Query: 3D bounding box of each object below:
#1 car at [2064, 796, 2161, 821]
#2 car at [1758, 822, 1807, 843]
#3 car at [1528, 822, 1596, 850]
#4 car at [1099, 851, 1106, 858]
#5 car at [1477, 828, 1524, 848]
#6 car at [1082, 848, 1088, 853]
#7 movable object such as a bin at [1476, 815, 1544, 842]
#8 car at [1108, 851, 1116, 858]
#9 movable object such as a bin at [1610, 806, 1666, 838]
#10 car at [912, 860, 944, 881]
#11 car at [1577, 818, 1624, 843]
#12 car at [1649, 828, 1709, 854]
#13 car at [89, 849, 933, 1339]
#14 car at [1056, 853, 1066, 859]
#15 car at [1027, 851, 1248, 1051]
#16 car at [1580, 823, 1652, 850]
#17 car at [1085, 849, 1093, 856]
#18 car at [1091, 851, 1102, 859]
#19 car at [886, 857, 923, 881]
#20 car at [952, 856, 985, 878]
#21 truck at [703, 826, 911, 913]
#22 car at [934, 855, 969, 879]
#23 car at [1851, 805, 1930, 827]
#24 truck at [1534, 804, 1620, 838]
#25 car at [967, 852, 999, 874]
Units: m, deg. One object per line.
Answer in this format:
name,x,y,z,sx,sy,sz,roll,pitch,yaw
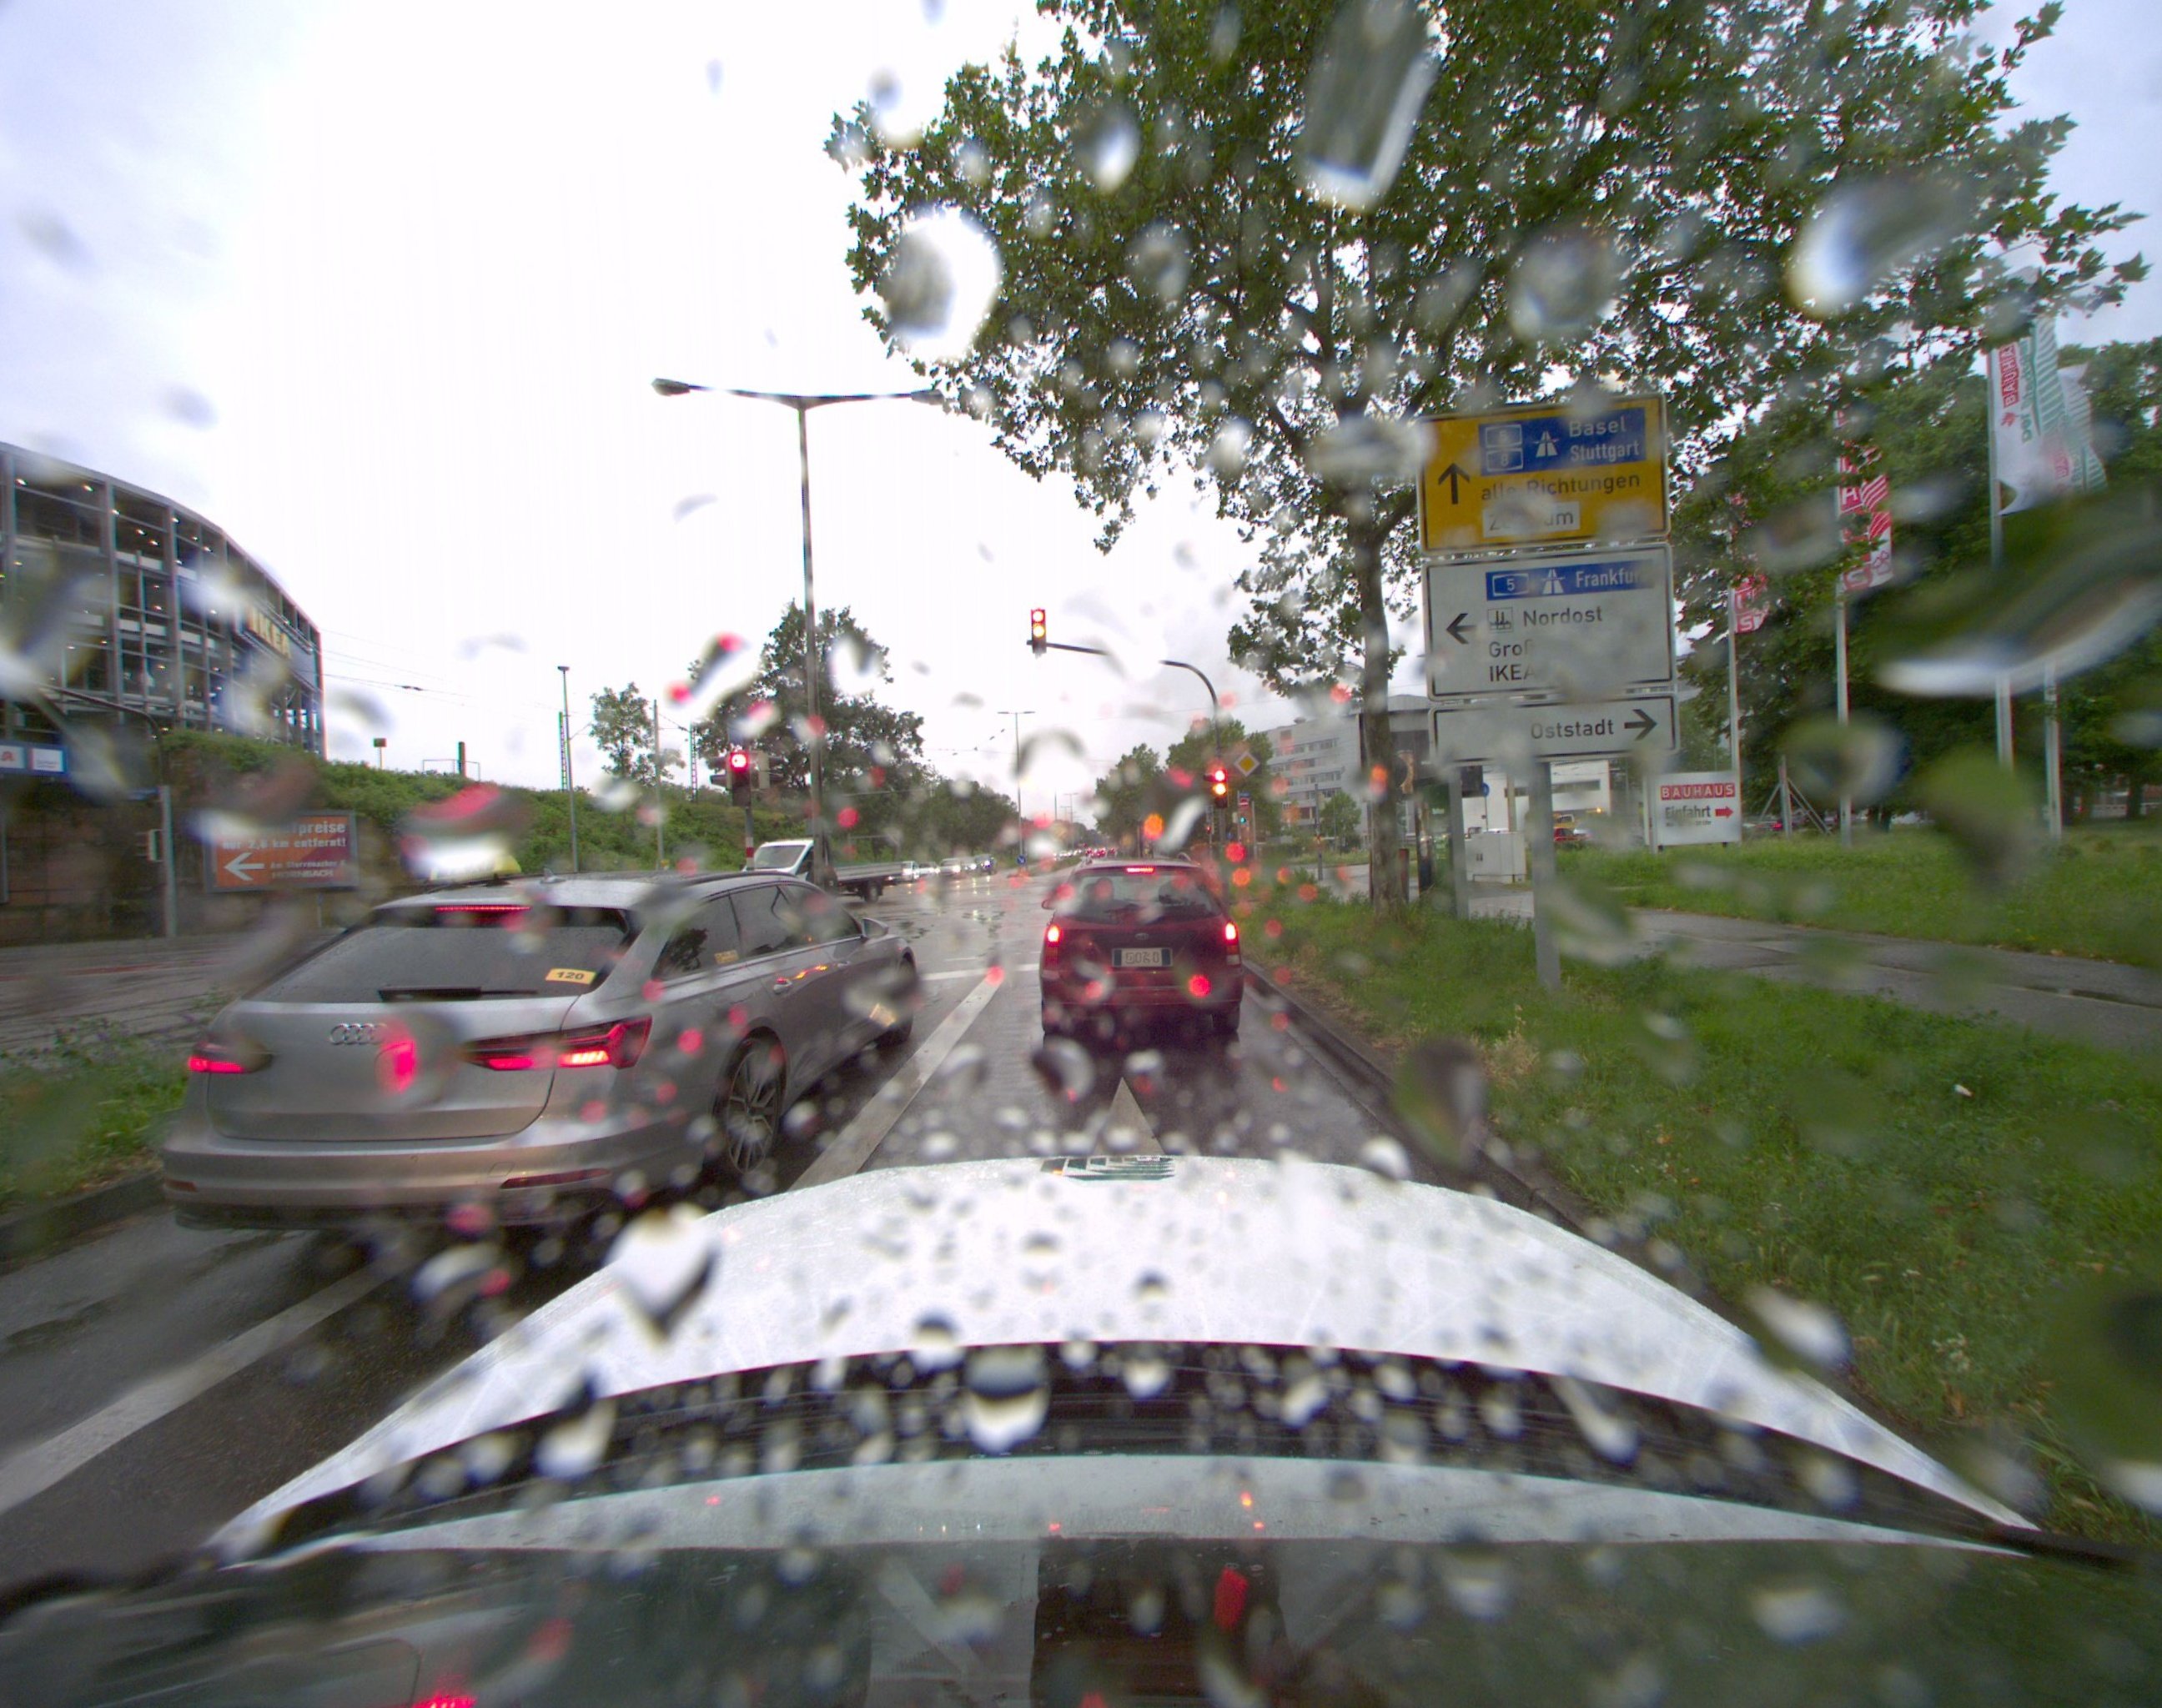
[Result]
car,88.540,-3.895,69.313,2.286,1.731,5.899,-3,0,-33
car,57.445,-1.763,66.658,4.645,1.586,1.907,-2,-1,-34
car,27.496,-1.026,46.564,3.828,1.491,1.662,-2,0,-30
car,5.154,0.084,194.318,1.691,1.528,3.849,-3,0,3
car,38.146,-1.439,74.017,4.257,1.726,1.724,-1,0,-30
car,1.173,-1.008,245.190,1.691,1.528,3.849,-3,0,3
movable object such as a bin,53.774,-3.172,102.168,3.342,2.995,6.650,-3,0,-34
car,7.330,0.044,193.677,1.664,1.528,3.849,-3,0,3
movable object such as a bin,66.850,-3.833,97.655,6.347,3.507,3.293,-3,0,-34
car,-11.573,1.221,61.876,1.585,1.404,3.823,-3,0,1
car,48.430,-2.224,75.848,4.709,2.125,1.978,-2,-1,-36
car,42.015,-0.903,57.193,4.644,1.586,1.907,-3,0,-34
car,-2.285,0.765,5.048,1.763,1.574,4.822,0,0,1
car,-5.151,0.505,210.194,2.084,1.528,4.197,-3,0,4
car,0.450,0.718,7.917,1.636,1.465,3.733,0,0,1
car,33.568,-1.126,51.101,4.847,1.491,1.908,-2,0,-32
car,2.068,-0.418,202.618,1.691,1.528,3.849,-3,0,3
car,3.209,0.251,167.870,2.138,1.528,4.197,-3,0,4
car,-11.980,0.970,55.496,1.633,1.452,3.786,-3,0,0
car,-8.741,1.003,63.631,1.756,1.586,4.813,-3,-1,0
truck,-8.468,0.394,26.227,2.453,2.365,6.902,-3,0,20
car,-8.946,0.872,56.529,1.632,1.473,3.966,-3,0,1
car,72.240,-3.372,72.783,4.567,1.586,1.939,-3,-1,27
truck,57.973,-3.823,95.385,3.342,3.507,7.806,-3,0,-33
car,-8.597,0.757,71.901,2.058,1.819,5.542,-3,0,1
